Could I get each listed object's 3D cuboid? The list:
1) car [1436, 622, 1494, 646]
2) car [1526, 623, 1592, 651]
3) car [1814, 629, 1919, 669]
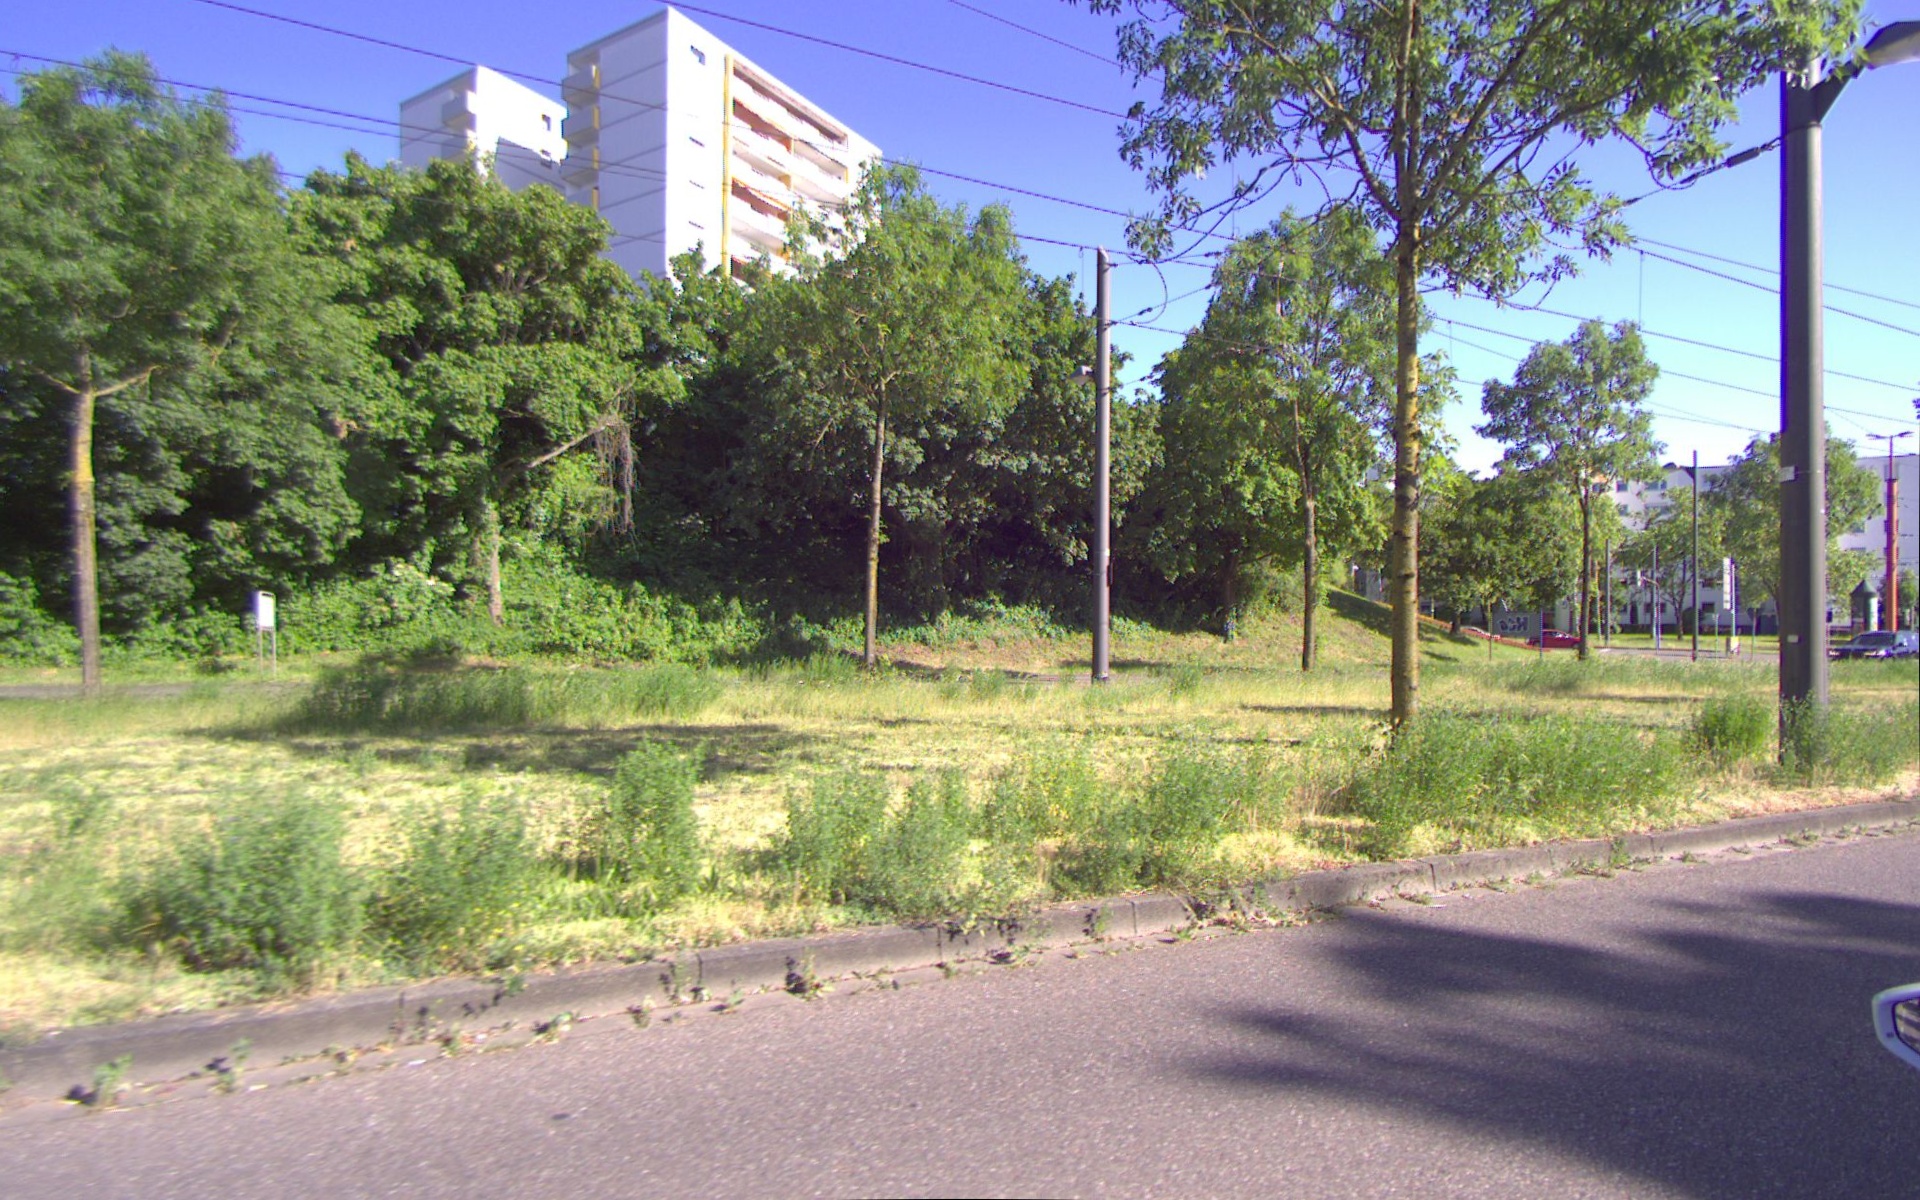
[{"bbox_3d":[40.730,2.715,81.004,3.933,1.773,1.907,1,0,35],"label":"car"},{"bbox_3d":[45.680,2.793,76.603,4.204,1.926,1.994,1,0,35],"label":"car"},{"bbox_3d":[39.109,2.083,42.928,5.202,1.605,1.987,2,0,-25],"label":"car"}]
